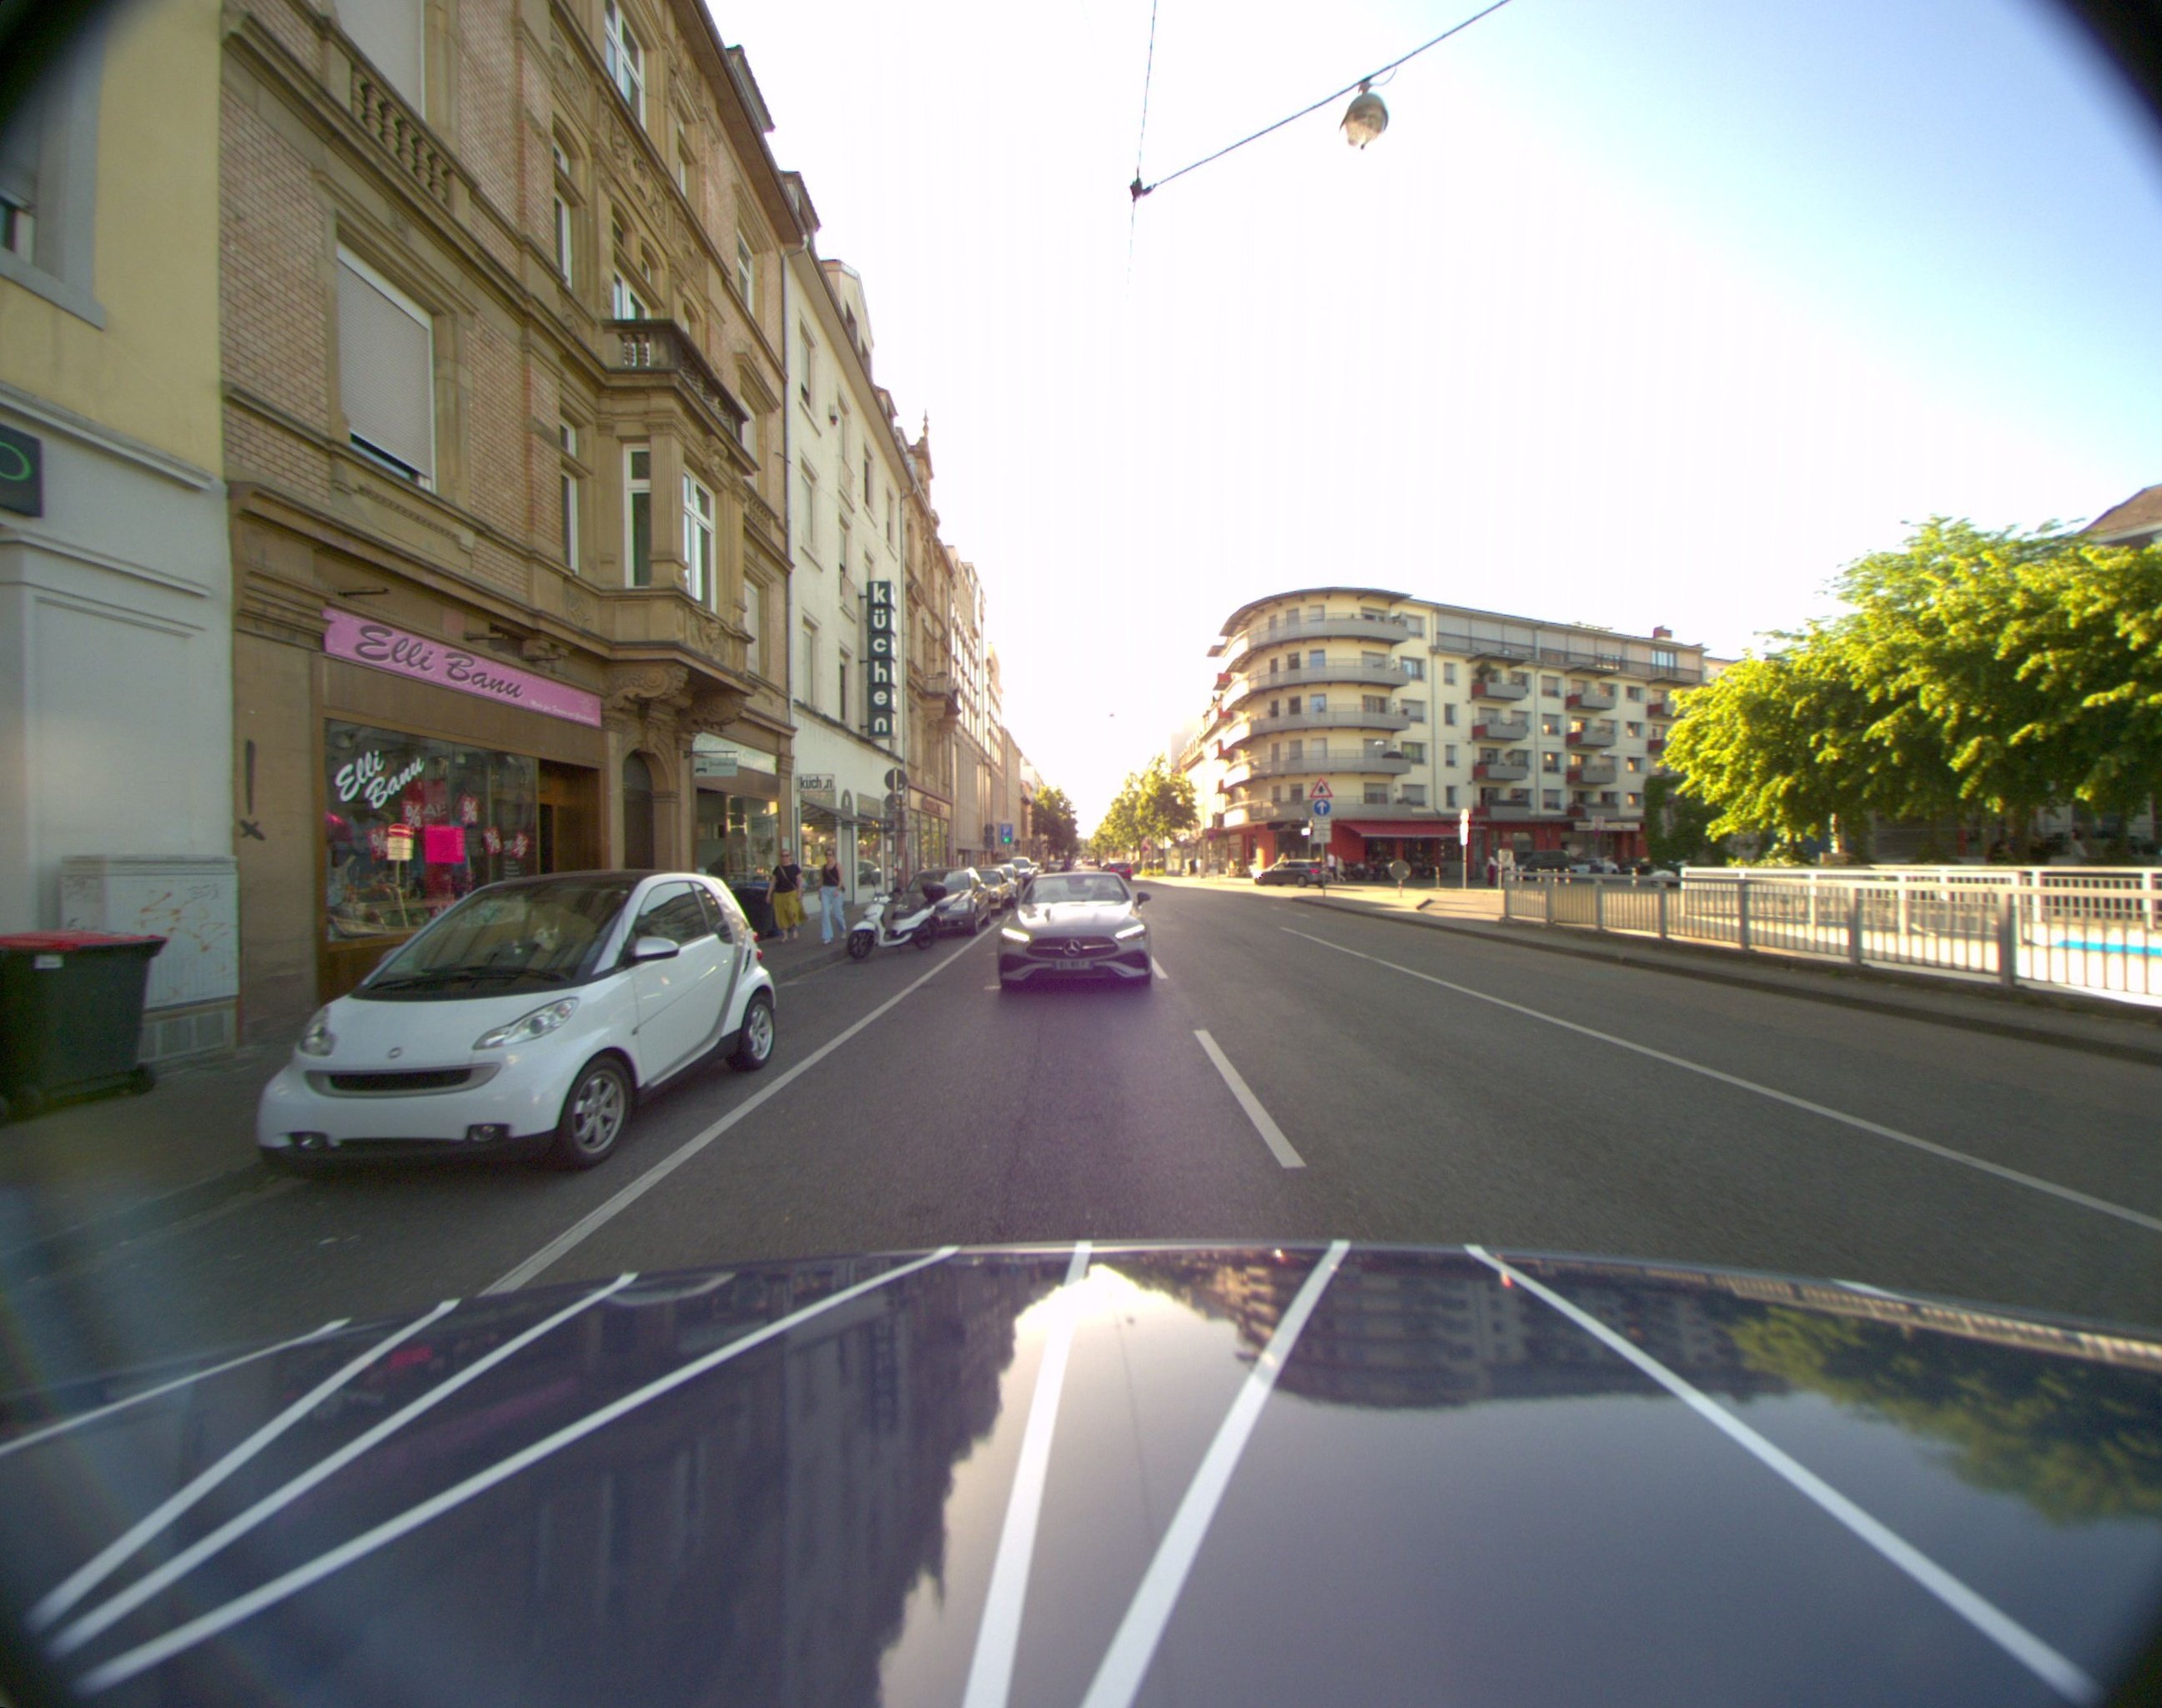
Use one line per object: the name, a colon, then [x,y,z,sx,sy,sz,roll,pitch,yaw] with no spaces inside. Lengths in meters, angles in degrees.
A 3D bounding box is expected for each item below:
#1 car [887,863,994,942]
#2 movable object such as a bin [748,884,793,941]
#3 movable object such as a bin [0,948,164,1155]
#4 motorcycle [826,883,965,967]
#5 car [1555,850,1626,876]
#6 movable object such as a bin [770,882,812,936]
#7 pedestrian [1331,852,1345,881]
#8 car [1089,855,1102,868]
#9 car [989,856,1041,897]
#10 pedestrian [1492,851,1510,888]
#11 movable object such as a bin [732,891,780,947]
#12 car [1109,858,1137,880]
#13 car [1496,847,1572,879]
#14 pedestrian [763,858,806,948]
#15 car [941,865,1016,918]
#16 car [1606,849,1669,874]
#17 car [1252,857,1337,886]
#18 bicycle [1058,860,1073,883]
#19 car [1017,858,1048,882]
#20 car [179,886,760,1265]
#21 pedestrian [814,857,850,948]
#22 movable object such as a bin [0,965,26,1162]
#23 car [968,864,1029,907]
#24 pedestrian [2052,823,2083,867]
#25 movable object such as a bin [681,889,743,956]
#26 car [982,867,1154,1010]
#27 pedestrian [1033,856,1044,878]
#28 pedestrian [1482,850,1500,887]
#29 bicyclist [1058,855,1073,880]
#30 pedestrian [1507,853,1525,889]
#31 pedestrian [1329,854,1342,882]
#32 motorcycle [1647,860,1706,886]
car: [-3.071,1.006,17.425,1.737,1.509,4.164,-2,0,-2]
movable object such as a bin: [-6.156,1.150,15.101,0.606,1.067,0.619,2,0,1]
movable object such as a bin: [-6.155,1.138,4.531,0.606,1.060,0.619,2,0,1]
motorcycle: [-3.229,1.188,13.364,2.178,1.272,0.866,-2,0,-41]
car: [34.466,0.623,51.405,4.300,1.611,1.952,-2,0,-23]
movable object such as a bin: [-6.107,1.145,16.012,0.606,1.067,0.619,2,0,1]
pedestrian: [15.534,0.751,45.928,0.575,1.698,0.642,-2,0,3]
car: [2.373,1.228,126.951,1.998,2.002,4.000,-2,0,1]
car: [-2.939,0.972,34.527,1.895,1.680,4.049,-2,0,1]
pedestrian: [21.115,0.778,38.209,0.602,1.782,0.581,-3,1,-45]
movable object such as a bin: [-6.162,1.221,14.418,0.606,0.986,0.619,2,0,1]
car: [2.952,1.051,54.475,1.895,1.388,4.256,-2,0,2]
car: [29.242,0.551,49.087,4.432,1.901,1.952,-2,0,-23]
pedestrian: [-5.421,0.885,13.906,0.619,1.623,0.462,1,0,-9]
car: [-3.069,1.103,23.515,1.737,1.408,3.802,-2,0,1]
car: [39.382,0.536,53.769,3.940,1.611,1.788,-2,0,-23]
car: [11.035,0.918,39.514,1.811,1.388,3.916,-2,0,-36]
bicycle: [-0.882,1.001,43.505,0.798,1.225,1.774,-2,0,1]
car: [-3.428,1.116,54.229,1.895,1.595,4.049,-2,0,1]
car: [-3.252,1.023,4.704,1.275,1.509,2.795,-2,0,0]
pedestrian: [-4.575,0.872,13.952,0.516,1.623,0.414,-2,0,-27]
movable object such as a bin: [-6.163,1.137,3.904,0.606,1.060,0.619,2,0,1]
car: [-2.968,1.100,27.896,1.737,1.408,3.802,-2,0,1]
pedestrian: [40.548,-0.363,31.235,0.602,1.782,0.582,-2,1,-20]
movable object such as a bin: [-6.172,1.134,12.732,0.716,1.065,0.619,2,0,1]
car: [-0.011,0.970,10.499,1.847,1.440,4.374,-2,0,4]
pedestrian: [-3.170,0.989,57.249,0.774,1.606,0.696,-2,0,-3]
pedestrian: [20.473,0.713,37.908,0.602,1.782,0.581,-3,1,-45]
bicyclist: [-0.890,0.754,43.477,0.798,1.426,1.008,-2,0,1]
pedestrian: [21.923,0.865,38.288,0.602,1.782,0.581,-3,1,-40]
pedestrian: [15.602,0.852,46.642,0.575,1.698,0.642,-2,0,3]
motorcycle: [26.261,0.839,33.520,1.927,1.096,0.682,-2,0,23]
